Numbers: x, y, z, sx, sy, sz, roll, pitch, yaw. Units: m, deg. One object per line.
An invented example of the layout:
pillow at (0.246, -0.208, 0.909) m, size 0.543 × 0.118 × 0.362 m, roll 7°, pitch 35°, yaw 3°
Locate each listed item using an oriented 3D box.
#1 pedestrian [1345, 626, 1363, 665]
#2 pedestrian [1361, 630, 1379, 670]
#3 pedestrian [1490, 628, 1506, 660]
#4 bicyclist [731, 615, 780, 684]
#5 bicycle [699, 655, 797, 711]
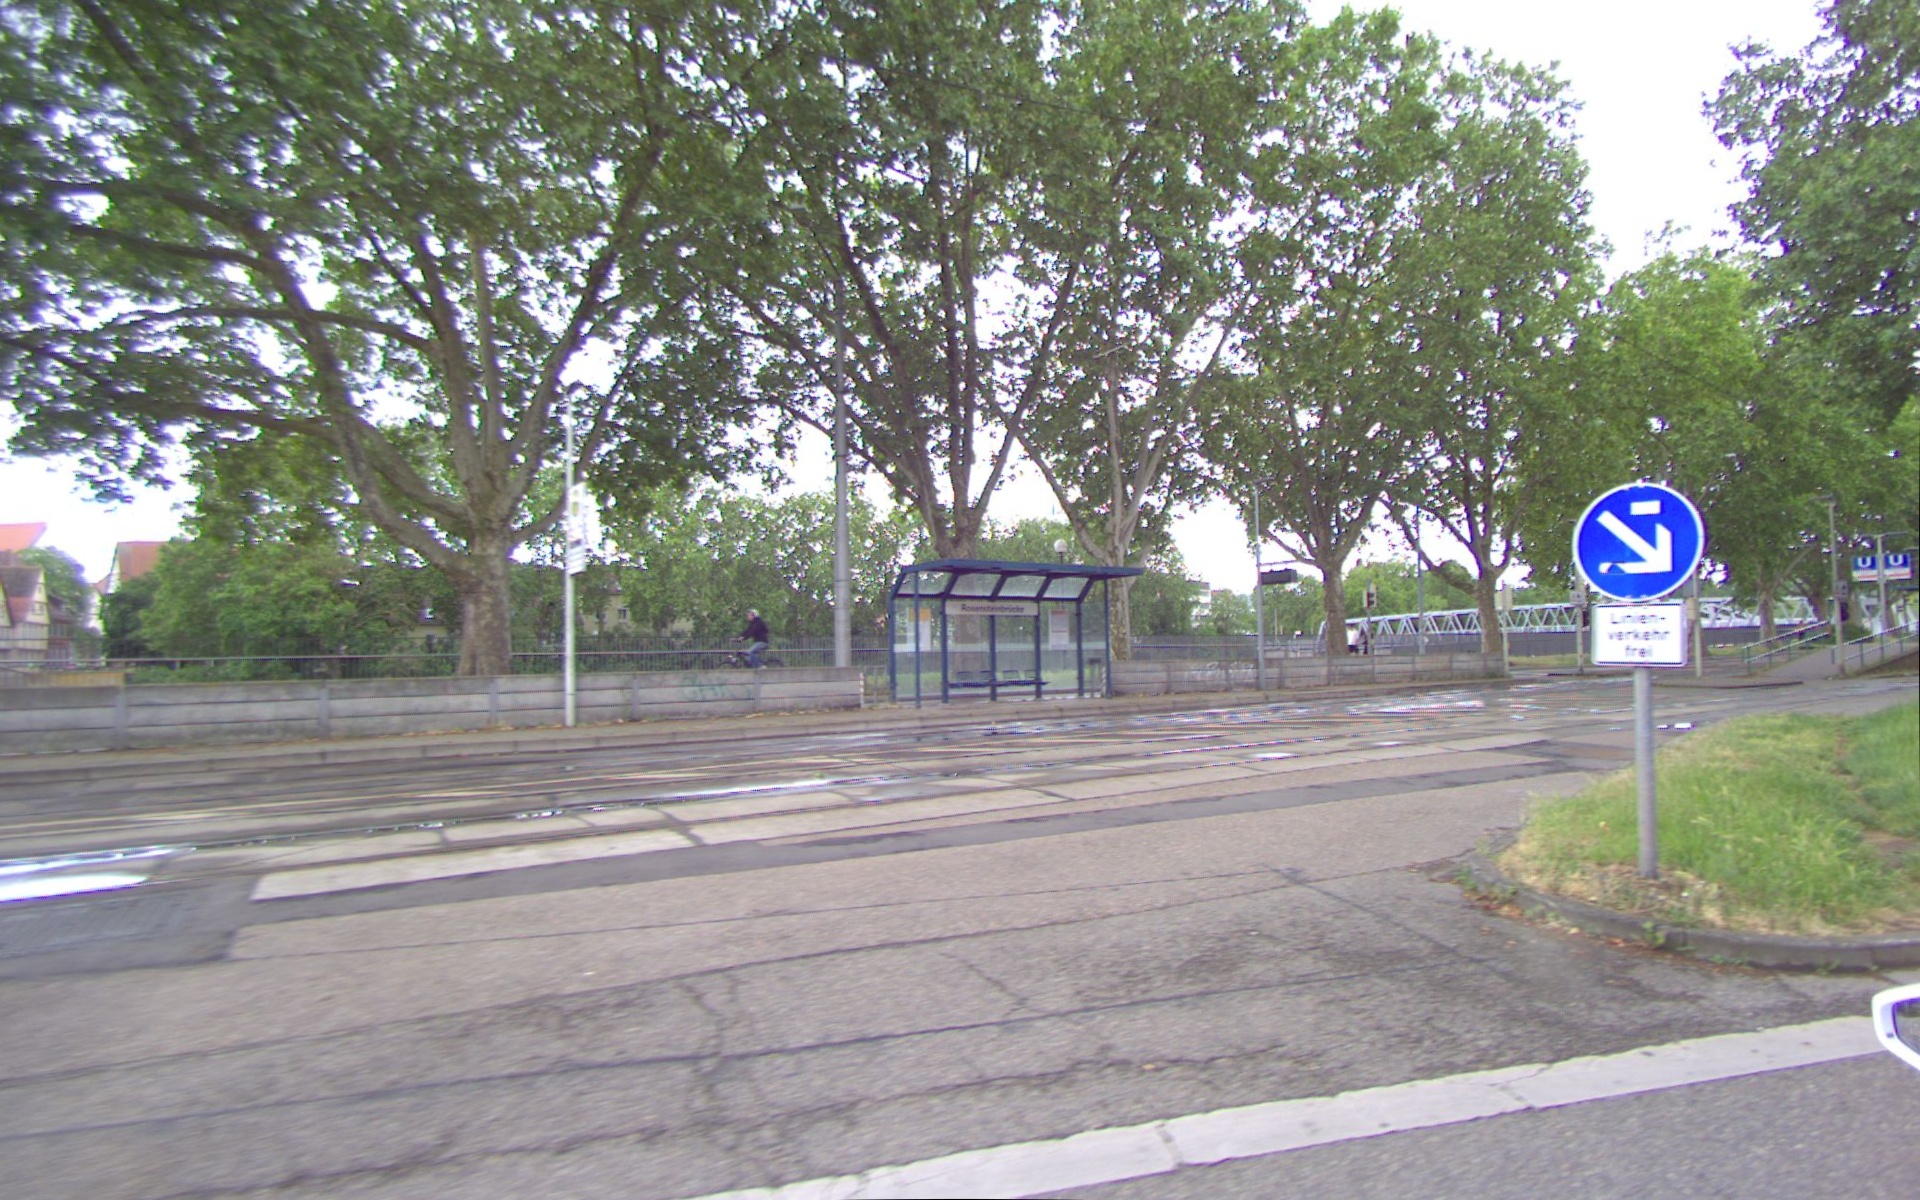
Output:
pedestrian at (16.996, 1.959, 43.360) m, size 0.529 × 1.644 × 0.496 m, roll 2°, pitch 0°, yaw -36°
pedestrian at (17.367, 2.102, 42.557) m, size 0.529 × 1.644 × 0.496 m, roll 2°, pitch 0°, yaw -36°
pedestrian at (27.600, 2.251, 51.505) m, size 0.655 × 1.644 × 0.533 m, roll 2°, pitch 0°, yaw 33°
bicyclist at (-5.063, 1.219, 24.863) m, size 0.997 × 1.672 × 0.637 m, roll 2°, pitch 0°, yaw -32°
bicycle at (-5.218, 2.025, 24.784) m, size 2.239 × 1.295 × 0.685 m, roll 2°, pitch 0°, yaw -32°
